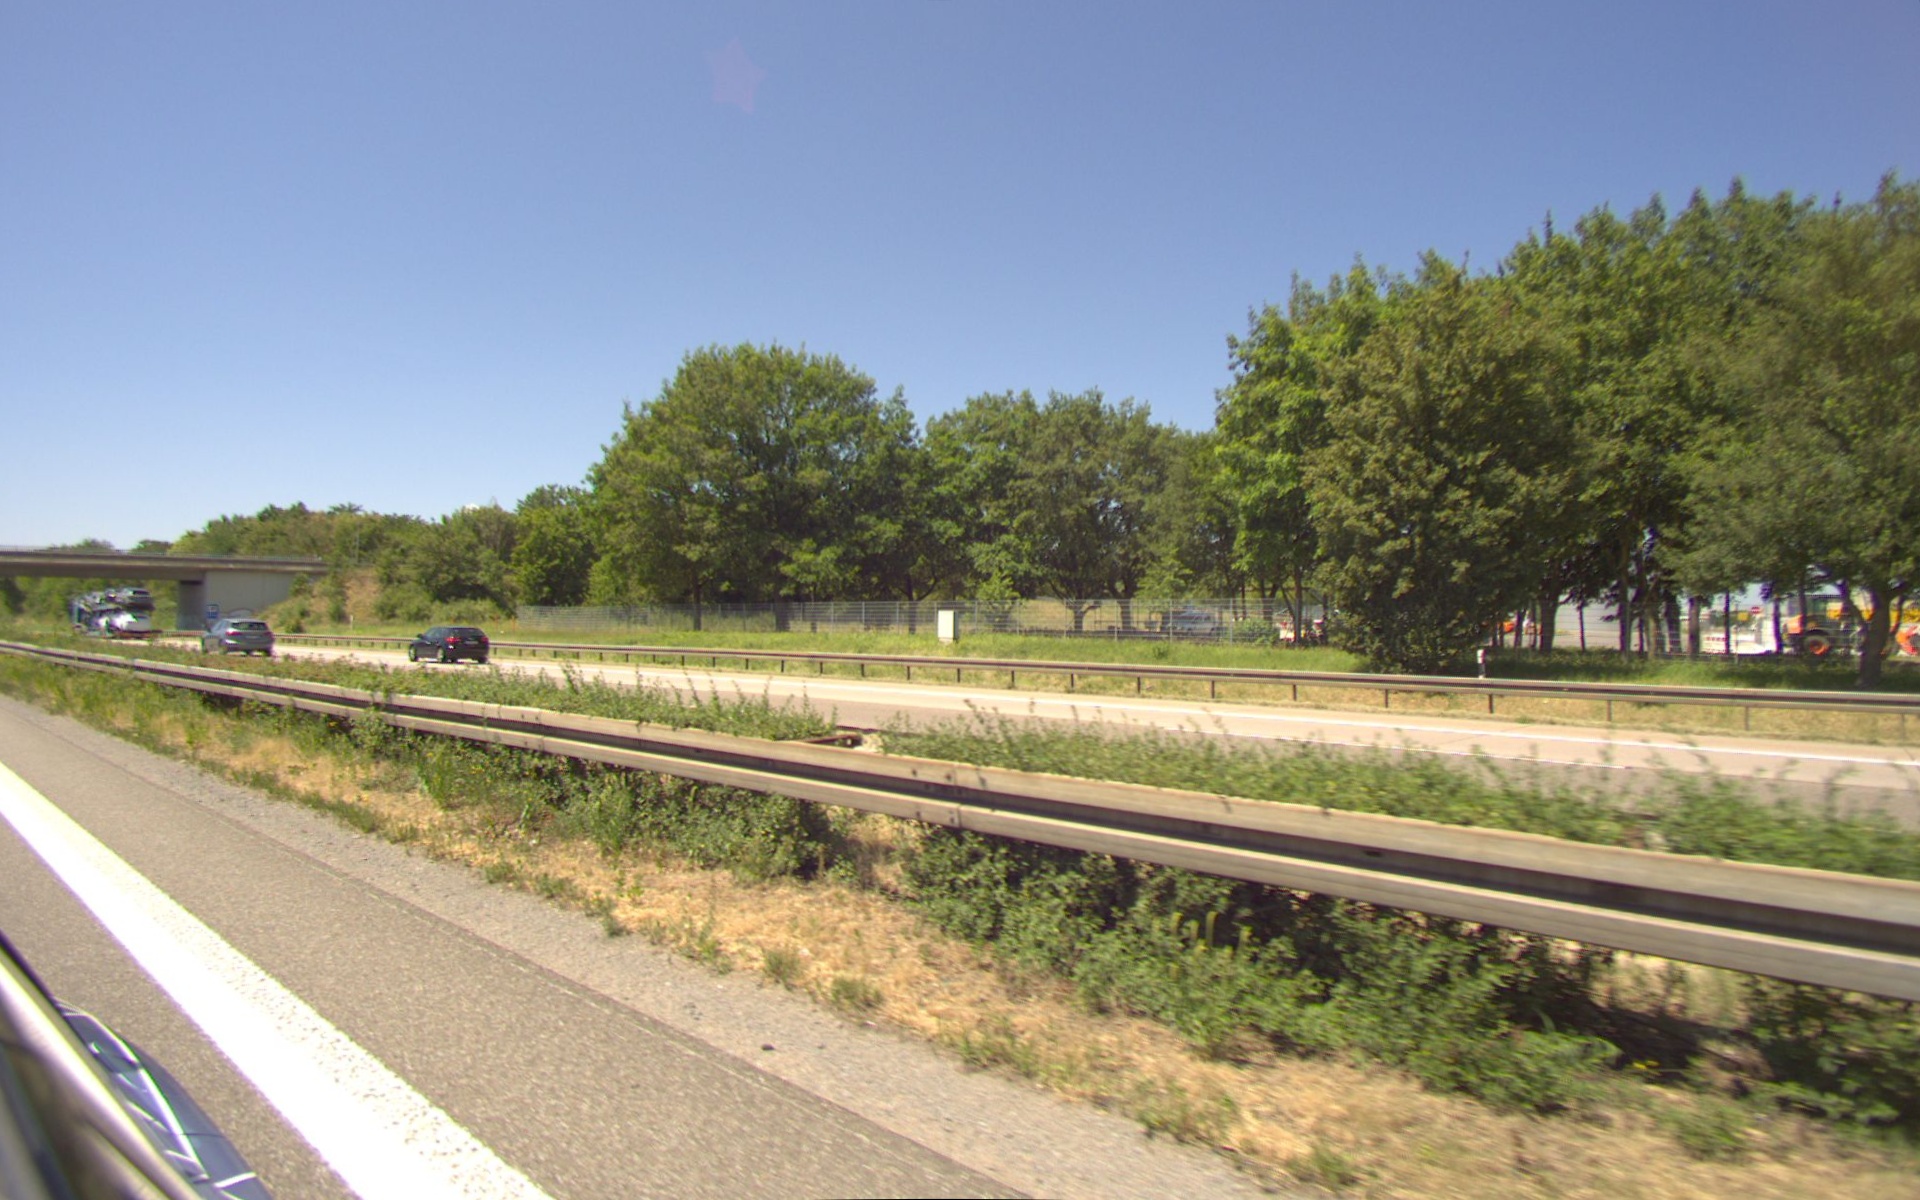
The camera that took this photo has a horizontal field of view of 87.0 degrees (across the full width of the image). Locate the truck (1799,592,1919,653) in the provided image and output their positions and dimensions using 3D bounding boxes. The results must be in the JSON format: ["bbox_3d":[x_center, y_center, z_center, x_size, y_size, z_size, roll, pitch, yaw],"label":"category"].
[{"bbox_3d":[51.630,1.278,55.655,8.292,3.216,3.512,-1,-3,42],"label":"truck"}]

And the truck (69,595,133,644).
[{"bbox_3d":[-74.786,1.742,88.050,7.367,4.006,2.849,-1,-4,40],"label":"truck"}]

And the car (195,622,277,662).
[{"bbox_3d":[-30.471,1.717,42.560,4.208,1.590,1.774,-1,-2,40],"label":"car"}]

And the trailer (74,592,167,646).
[{"bbox_3d":[-69.691,1.630,83.772,17.462,4.009,2.849,-1,-4,41],"label":"trailer"}]

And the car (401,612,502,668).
[{"bbox_3d":[-19.765,1.535,39.269,4.270,2.029,1.973,-1,-4,41],"label":"car"}]
